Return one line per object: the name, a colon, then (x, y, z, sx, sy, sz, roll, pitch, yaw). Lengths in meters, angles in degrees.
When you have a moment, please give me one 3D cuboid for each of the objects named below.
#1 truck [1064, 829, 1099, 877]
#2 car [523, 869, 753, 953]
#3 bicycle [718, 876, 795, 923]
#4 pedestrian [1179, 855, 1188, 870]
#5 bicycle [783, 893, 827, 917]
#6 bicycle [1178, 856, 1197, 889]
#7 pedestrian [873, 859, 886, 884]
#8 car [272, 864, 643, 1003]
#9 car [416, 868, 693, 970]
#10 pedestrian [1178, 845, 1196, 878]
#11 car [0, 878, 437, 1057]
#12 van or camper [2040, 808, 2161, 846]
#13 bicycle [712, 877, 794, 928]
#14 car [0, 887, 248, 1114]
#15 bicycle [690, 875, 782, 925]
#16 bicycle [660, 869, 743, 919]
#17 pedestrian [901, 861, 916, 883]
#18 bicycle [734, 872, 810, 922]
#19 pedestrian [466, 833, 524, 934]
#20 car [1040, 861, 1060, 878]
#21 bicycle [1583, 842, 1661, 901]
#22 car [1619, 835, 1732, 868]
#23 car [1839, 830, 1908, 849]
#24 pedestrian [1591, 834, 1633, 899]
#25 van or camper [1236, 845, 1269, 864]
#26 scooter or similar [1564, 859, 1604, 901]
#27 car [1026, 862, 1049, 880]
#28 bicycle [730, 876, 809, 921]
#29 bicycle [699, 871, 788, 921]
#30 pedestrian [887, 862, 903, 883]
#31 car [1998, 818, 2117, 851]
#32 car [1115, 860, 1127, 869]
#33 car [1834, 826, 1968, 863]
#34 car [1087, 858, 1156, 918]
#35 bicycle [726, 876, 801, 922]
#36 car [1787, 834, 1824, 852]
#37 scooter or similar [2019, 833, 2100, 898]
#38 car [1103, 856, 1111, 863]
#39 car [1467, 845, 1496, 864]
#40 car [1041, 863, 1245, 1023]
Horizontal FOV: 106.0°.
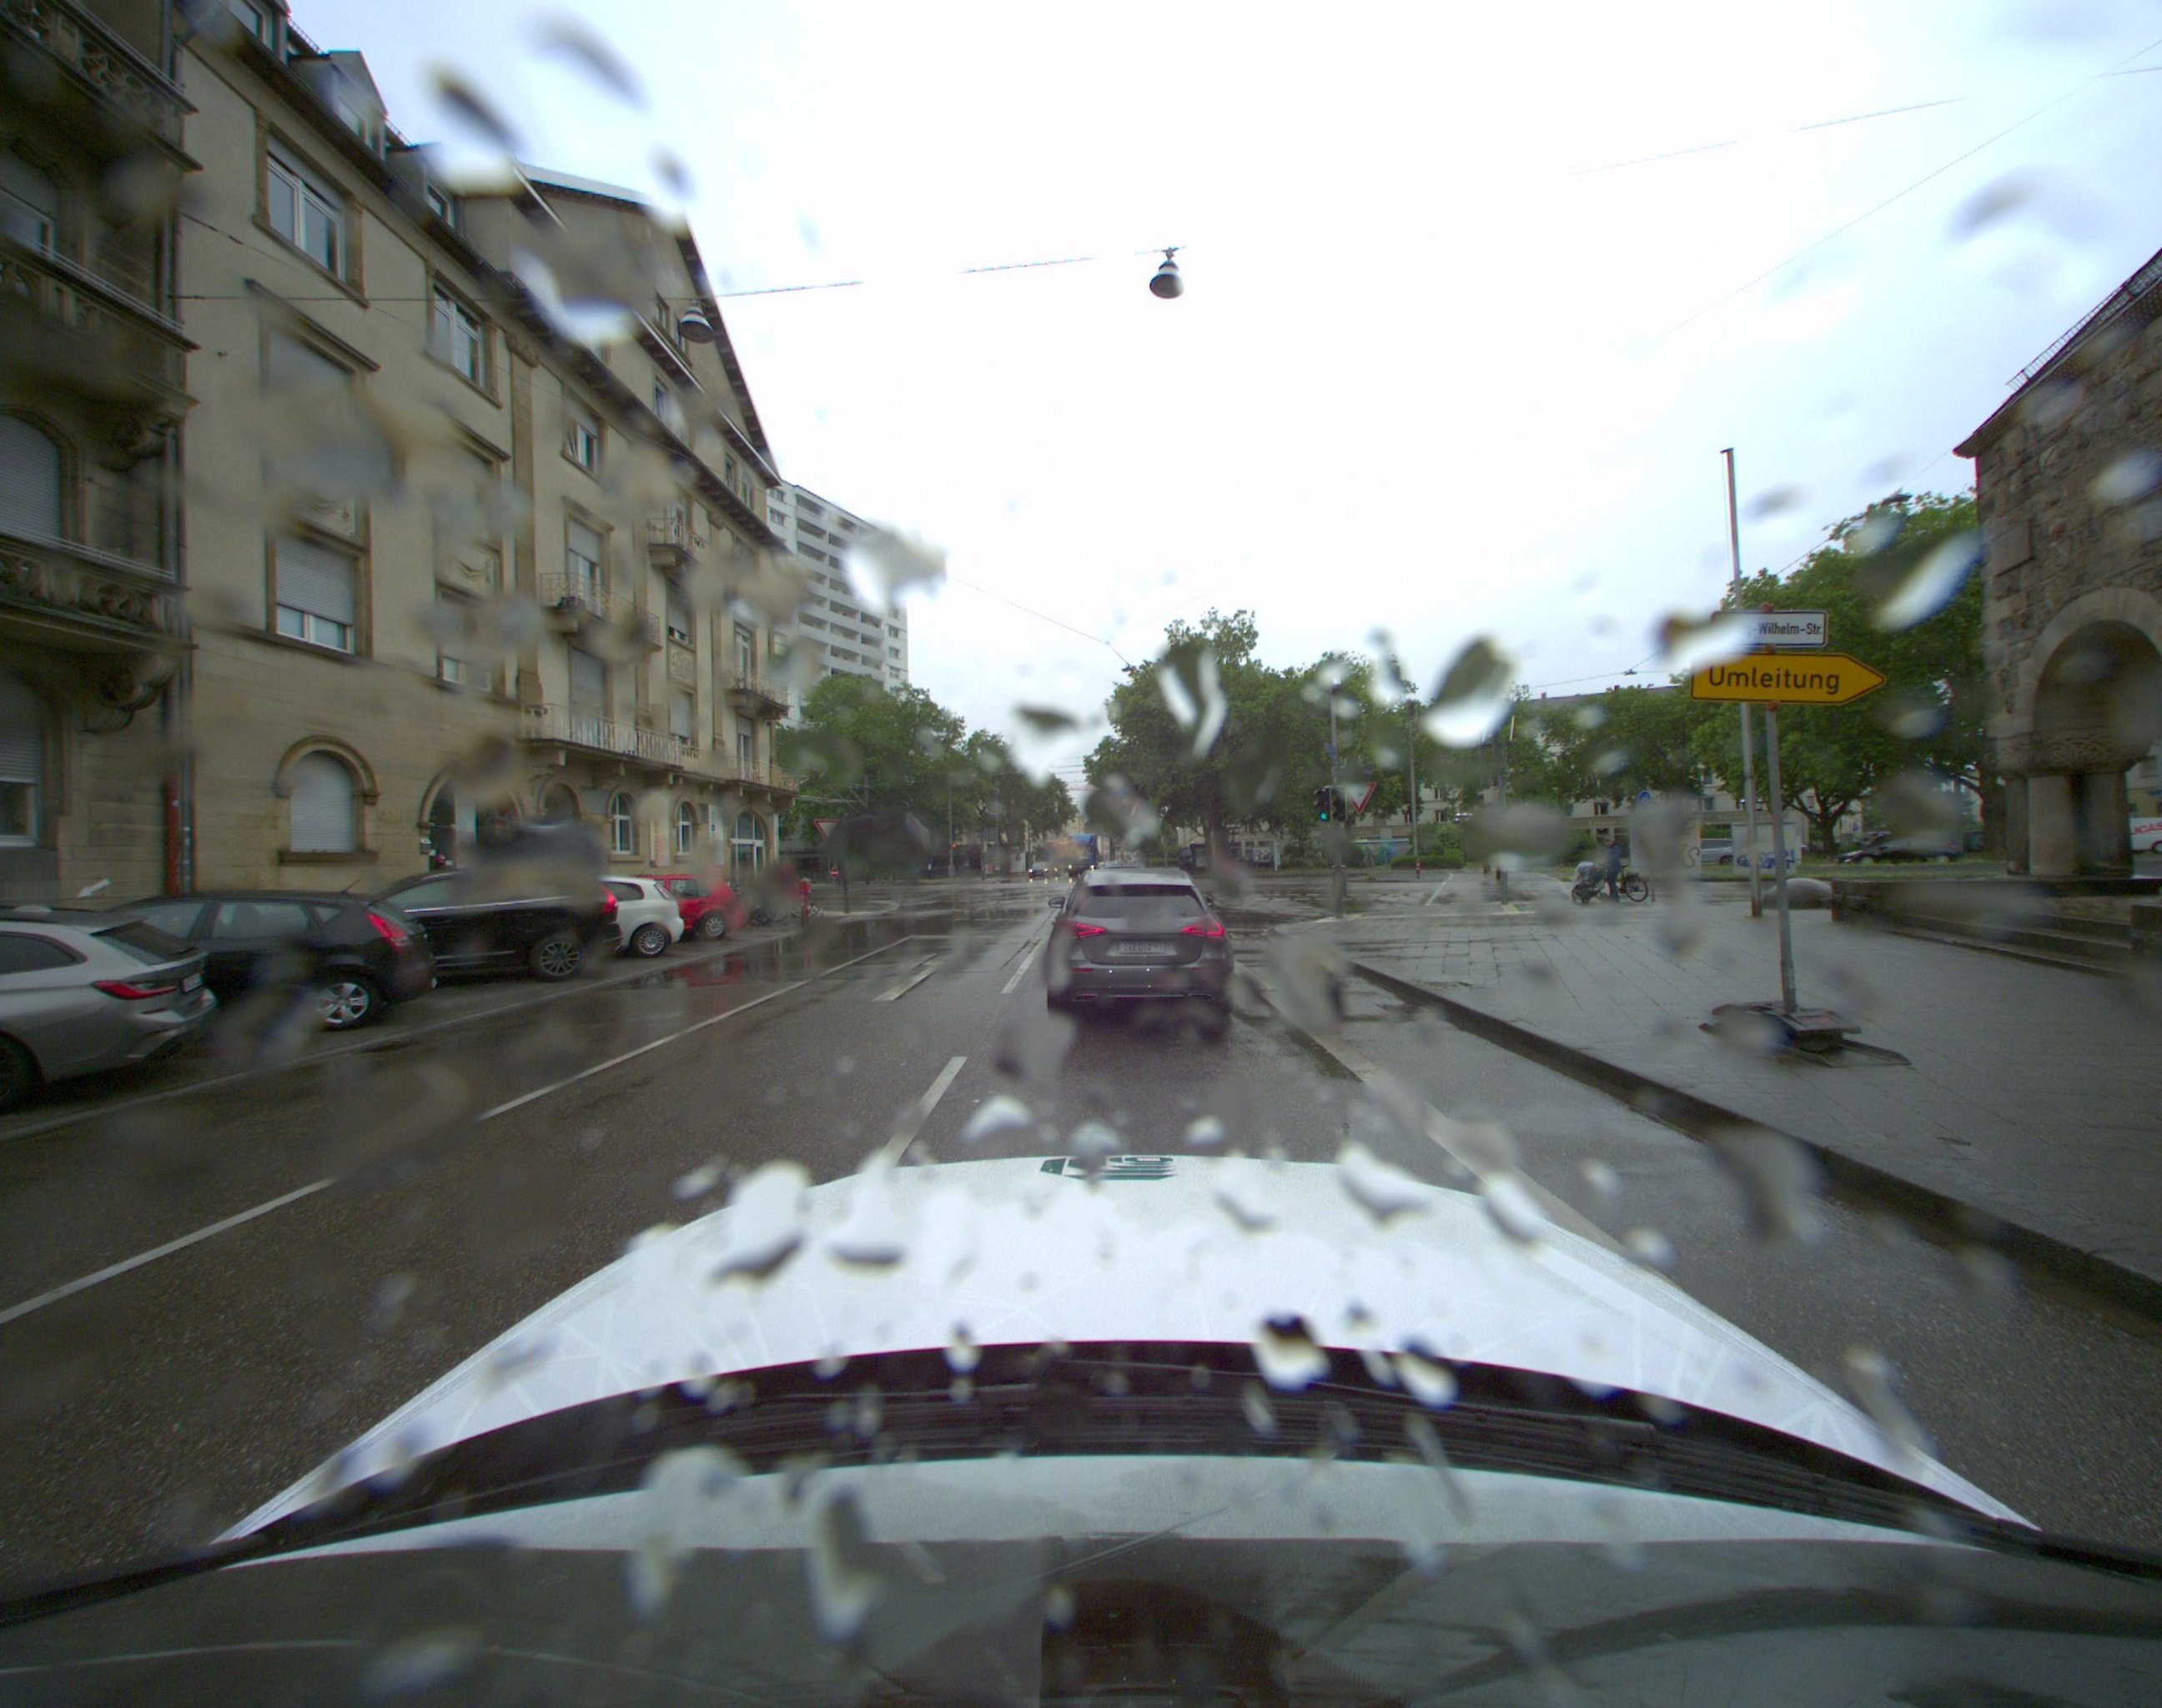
truck: (0.174, -0.054, 76.076, 2.835, 4.025, 10.318, -3, -1, 1)
car: (-9.391, 1.122, 17.443, 4.022, 1.508, 1.781, -1, -1, -43)
bicycle: (-8.648, 1.210, 21.733, 1.804, 1.185, 0.475, 2, -1, 0)
pedestrian: (11.883, 0.987, 94.293, 0.667, 1.669, 0.712, -1, -1, -28)
bicycle: (-8.416, 1.545, 24.795, 1.045, 0.663, 1.464, 1, -2, -29)
bicycle: (4.791, 0.792, 36.523, 0.745, 1.377, 2.714, -3, -1, 9)
pedestrian: (-15.178, 1.330, 61.238, 0.683, 1.838, 0.632, -2, -1, -40)
car: (-8.960, 1.012, 12.082, 4.104, 1.692, 1.744, 0, 0, -38)
car: (-9.331, 1.050, 14.637, 4.013, 1.533, 1.685, 0, 0, -38)
pedestrian: (4.755, 0.334, 36.492, 0.740, 1.398, 1.050, -3, -1, 9)
car: (-9.094, 1.058, 8.761, 3.326, 1.525, 1.682, 0, 0, -37)
van or camper: (55.979, -1.452, 44.213, 4.615, 1.915, 2.011, -2, 0, 21)
bicycle: (-8.328, 1.223, 20.709, 1.800, 1.184, 0.601, 2, 0, 7)
car: (-8.787, 1.078, 6.025, 3.446, 1.544, 1.682, 0, 0, -38)
bicycle: (-10.092, 1.337, 23.874, 2.335, 1.346, 0.639, -2, 0, -4)
bicycle: (-10.936, 1.145, 23.479, 2.052, 1.346, 0.584, -2, 0, -4)
pedestrian: (-13.337, 1.377, 62.897, 0.828, 1.648, 0.759, -3, -1, 17)
bicycle: (-8.855, 1.230, 23.344, 1.967, 1.330, 0.438, -2, 0, 3)
pedestrian: (-14.046, 0.701, 19.523, 0.838, 2.340, 0.768, -2, -1, 24)
car: (-3.077, 1.496, 81.386, 1.720, 1.546, 4.341, -3, -1, 1)
bicycle: (14.209, 0.445, 21.466, 0.531, 1.466, 1.935, -2, 0, -8)
car: (31.180, -0.124, 42.873, 4.499, 1.599, 1.802, -2, 0, 24)
car: (68.842, -1.207, 70.794, 3.949, 1.452, 1.687, -3, -1, 27)
pedestrian: (13.820, 0.323, 21.212, 0.600, 1.663, 0.690, -2, 0, 5)
van or camper: (21.026, 0.055, 99.606, 2.373, 2.231, 5.463, -2, -1, 29)
scooter or similar: (13.290, 0.670, 21.524, 0.511, 1.048, 0.925, -2, 0, 4)
car: (-3.870, 1.492, 72.623, 1.737, 1.546, 3.779, -3, -1, 1)
bicycle: (-8.685, 1.228, 22.776, 1.974, 1.185, 0.474, 2, -1, -2)
bicycle: (-10.146, 1.262, 24.528, 2.335, 1.346, 0.639, -3, 0, -4)
pedestrian: (-14.538, 1.444, 63.652, 0.785, 1.648, 0.820, -3, -1, 17)
car: (58.399, -1.132, 48.804, 4.210, 1.779, 1.748, -2, -1, 22)
car: (6.921, 1.800, 142.013, 1.987, 1.574, 4.000, -2, -1, 1)
car: (39.320, -0.421, 39.182, 4.127, 1.599, 1.789, -2, 0, 24)
car: (1.052, 0.841, 21.620, 1.601, 1.372, 4.002, -3, 0, 2)
bicycle: (-8.661, 1.220, 22.260, 1.804, 1.185, 0.468, 2, -1, -1)
car: (68.935, -1.055, 77.552, 1.694, 1.618, 4.024, -1, -1, 27)
scooter or similar: (21.461, 0.263, 17.881, 1.090, 1.387, 0.288, -2, 0, 24)
car: (7.051, 1.569, 218.042, 1.880, 1.836, 4.006, -2, -1, 6)
car: (35.137, 0.058, 71.580, 1.650, 1.521, 3.695, -2, -1, 17)
car: (0.600, 0.804, 8.932, 1.784, 1.372, 3.508, -1, 0, 2)
